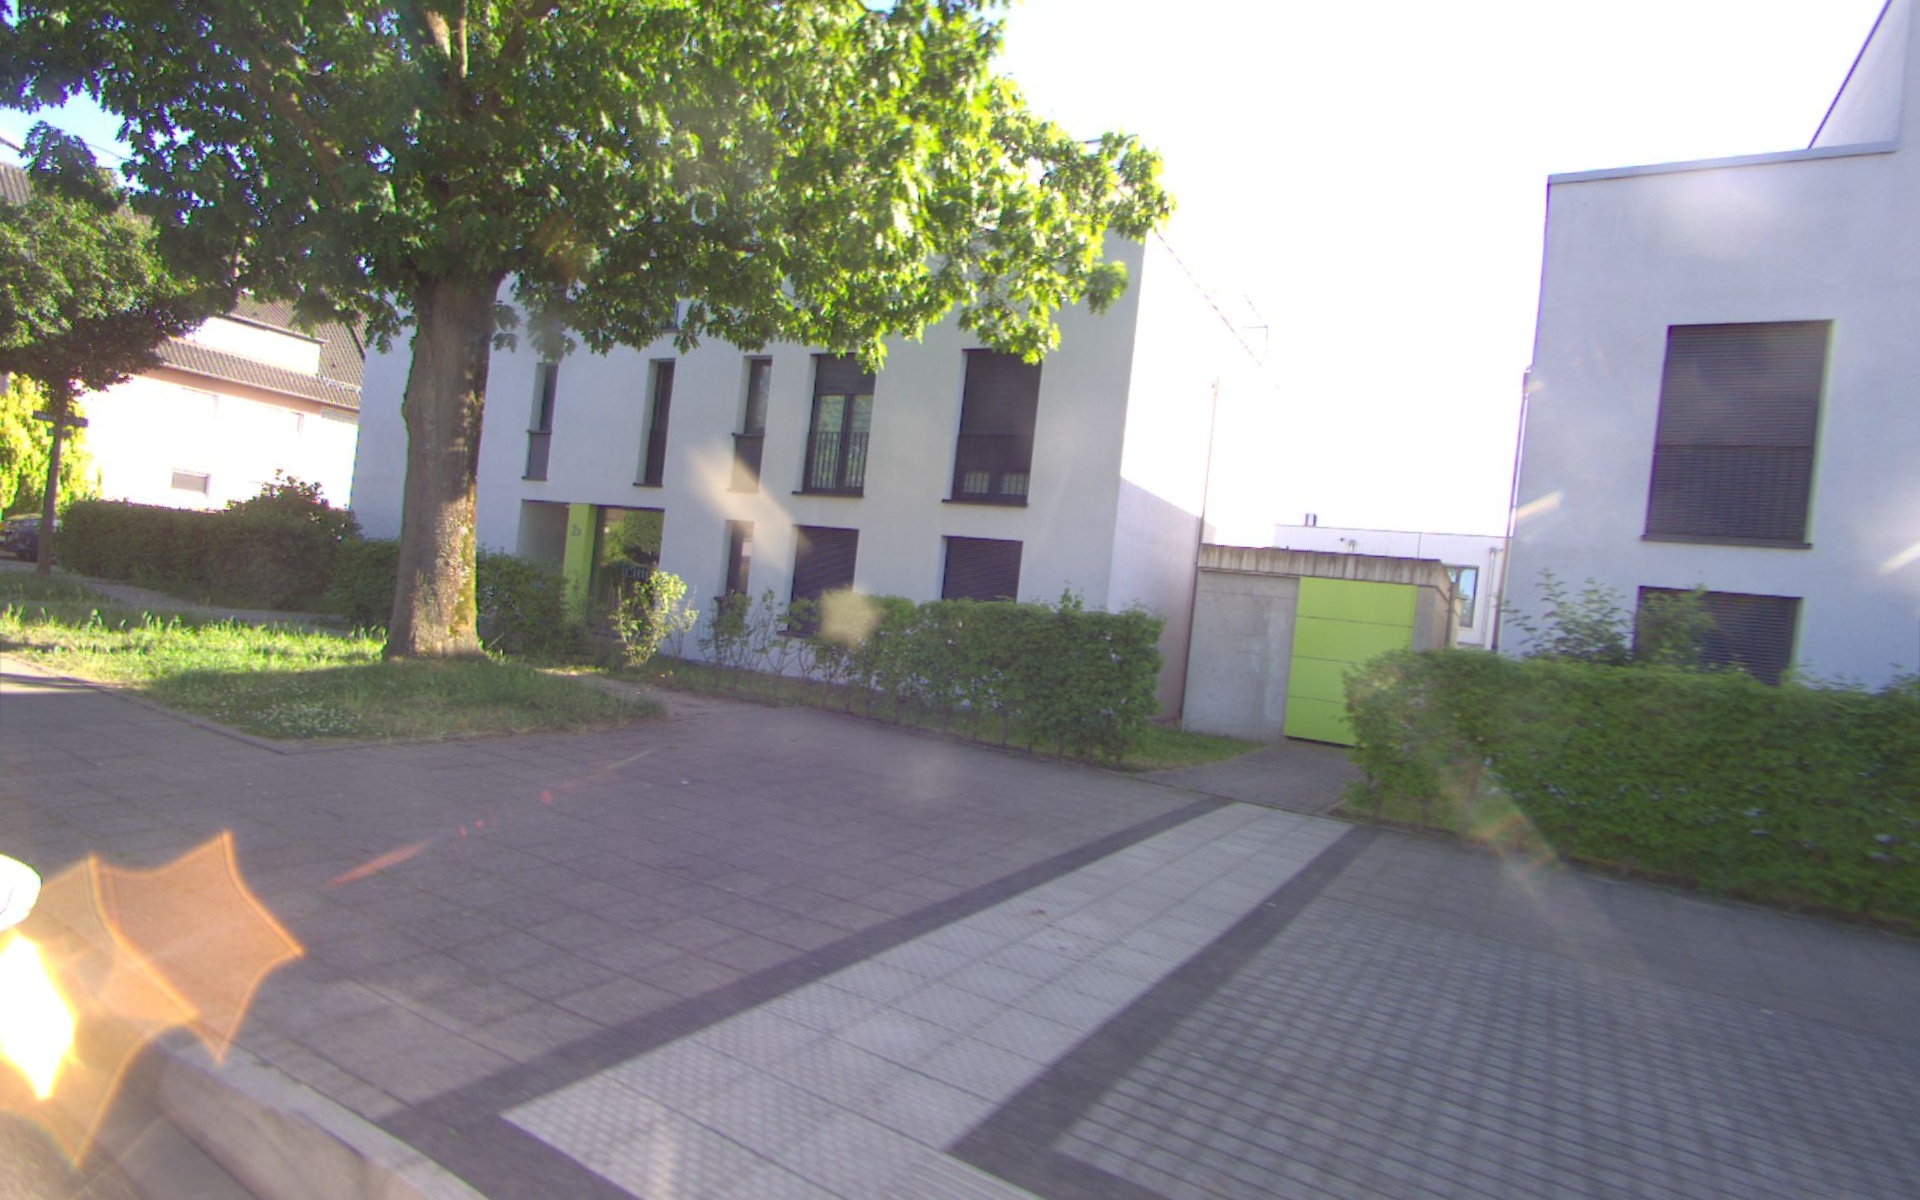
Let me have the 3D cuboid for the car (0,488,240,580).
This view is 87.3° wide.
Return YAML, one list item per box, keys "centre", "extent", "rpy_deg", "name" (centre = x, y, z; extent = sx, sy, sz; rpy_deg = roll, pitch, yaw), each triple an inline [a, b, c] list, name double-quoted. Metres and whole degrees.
- centre: [-23.770, -1.790, 28.338]
  extent: [2.036, 1.869, 5.251]
  rpy_deg: [5, -2, 28]
  name: "car"
